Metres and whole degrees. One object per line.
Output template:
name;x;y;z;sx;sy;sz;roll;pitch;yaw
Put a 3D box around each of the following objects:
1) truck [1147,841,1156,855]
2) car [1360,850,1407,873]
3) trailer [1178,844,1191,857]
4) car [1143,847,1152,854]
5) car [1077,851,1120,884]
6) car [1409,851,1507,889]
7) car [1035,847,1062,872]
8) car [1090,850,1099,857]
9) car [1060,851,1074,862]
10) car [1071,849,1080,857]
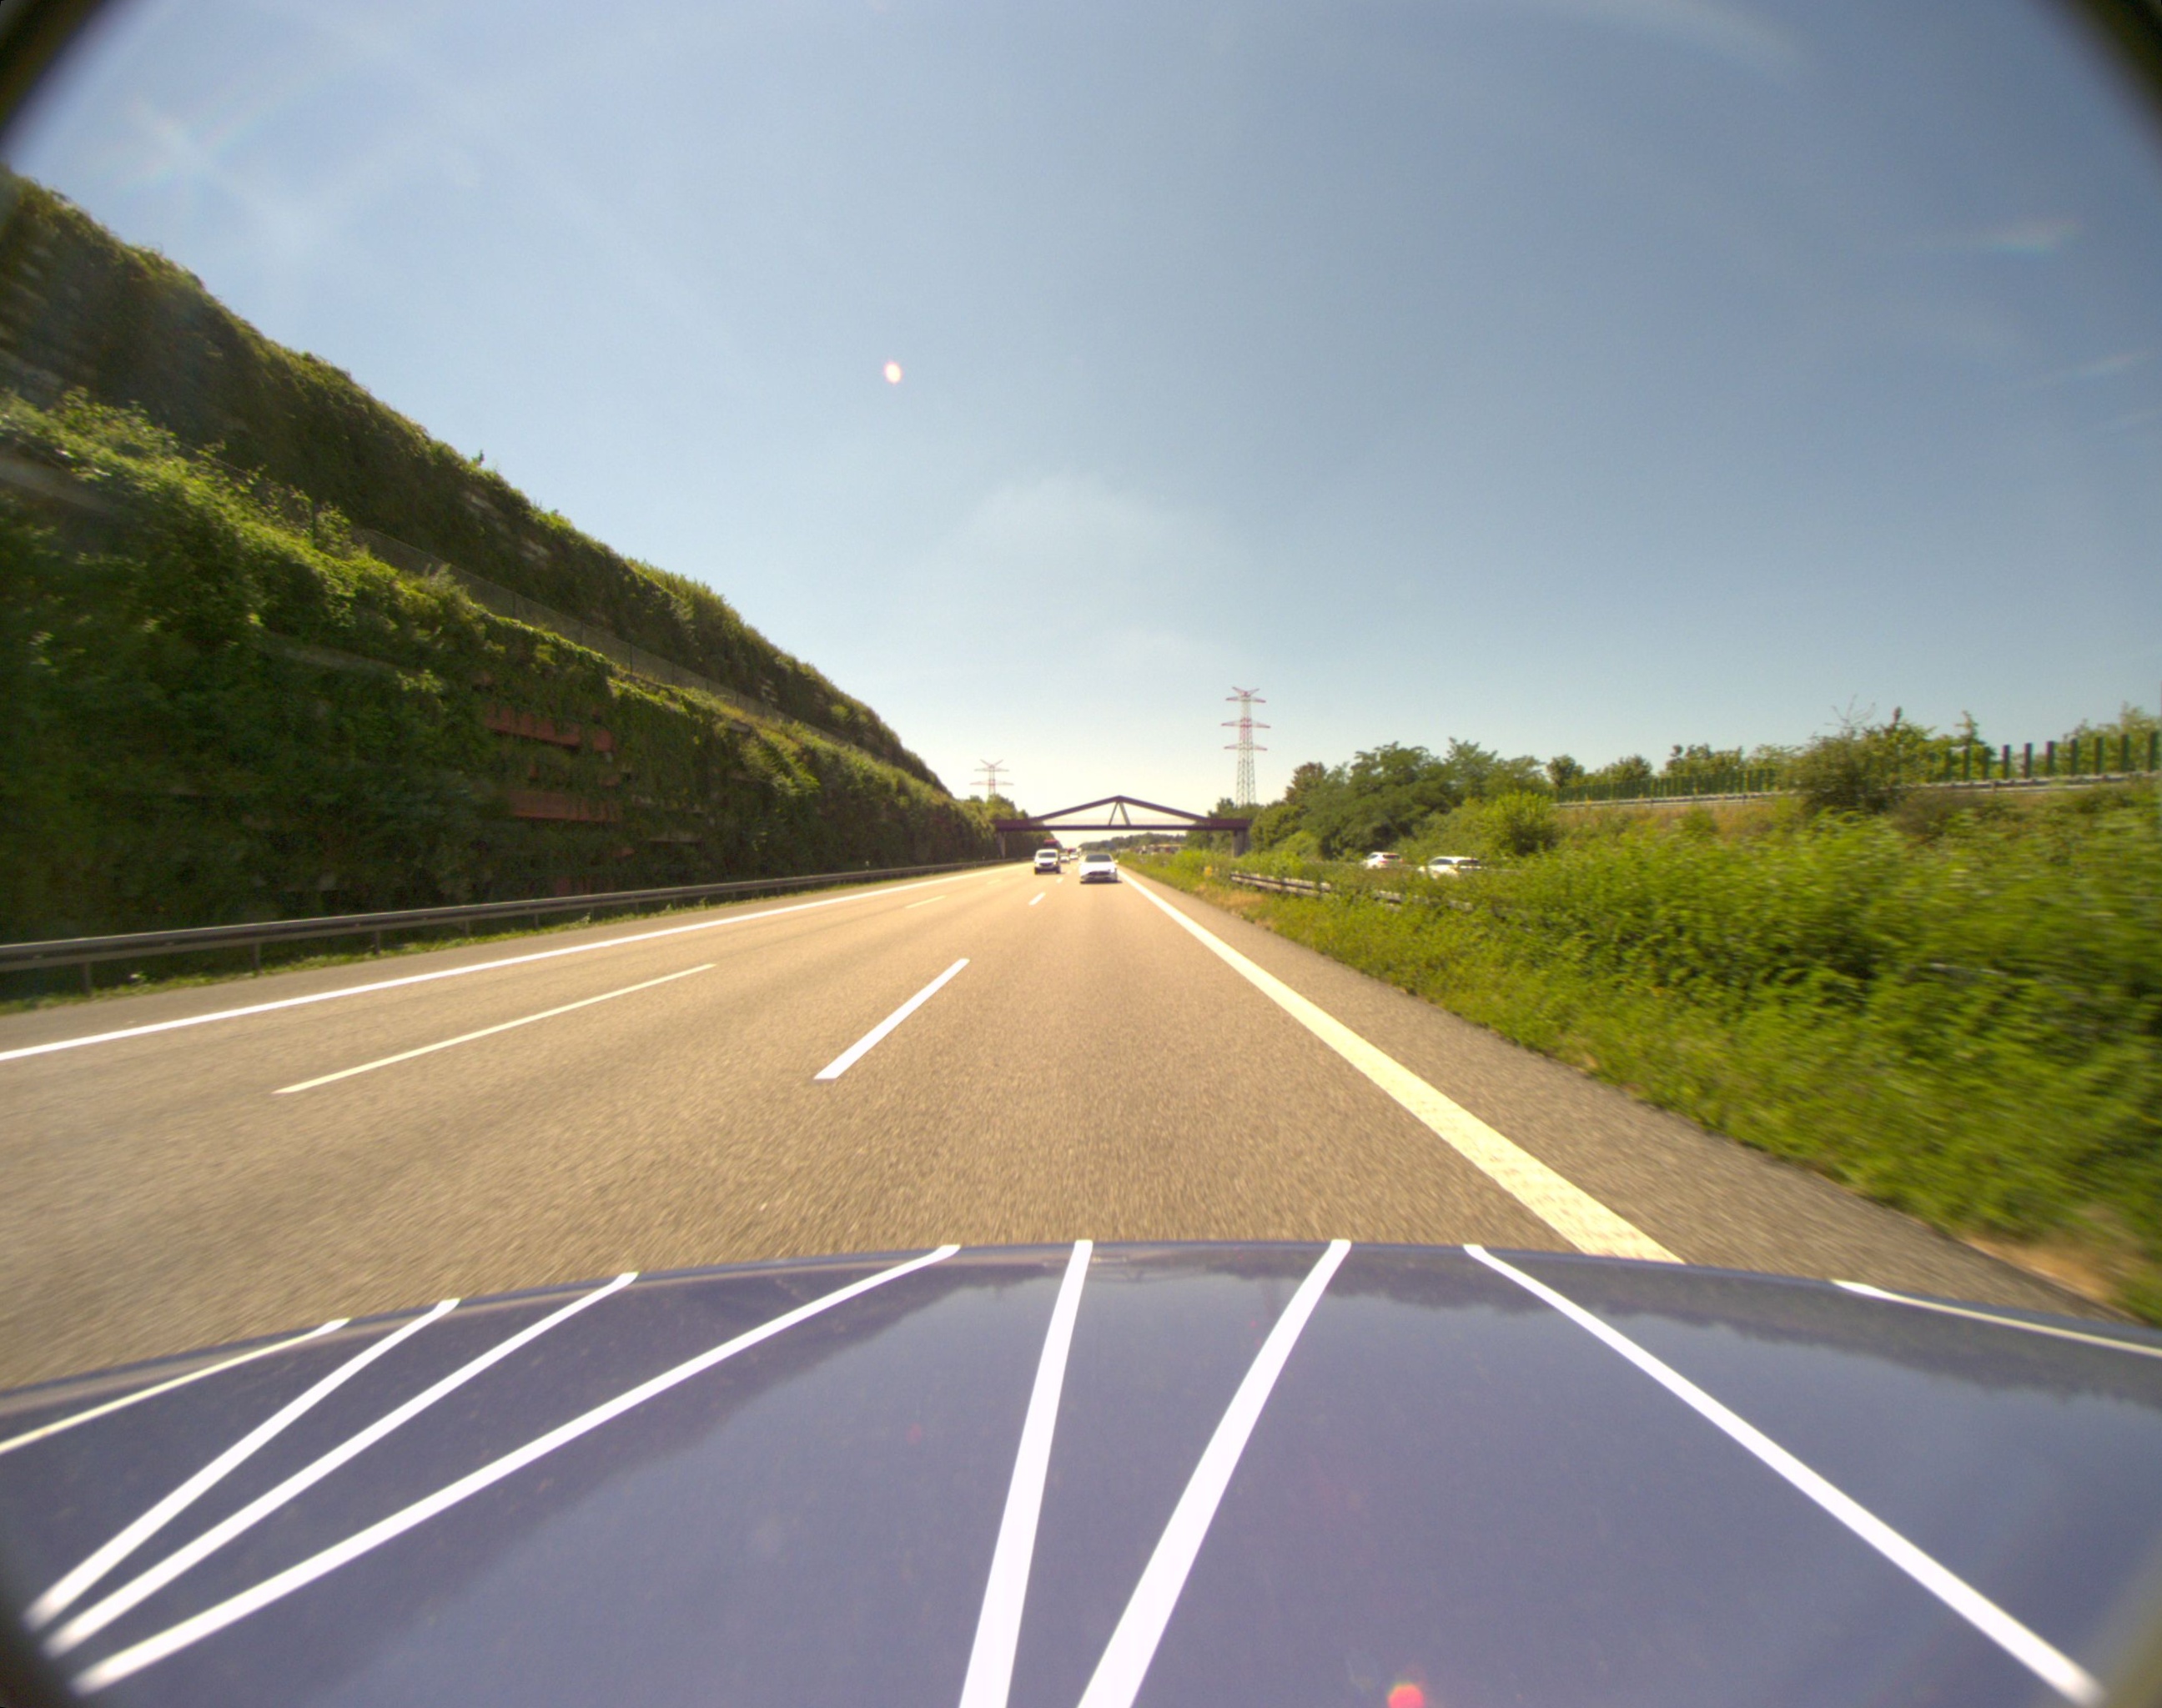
truck;21.677;-1.896;233.587;2.443;4.203;5.593;0;1;-1
car;22.087;0.505;55.590;1.768;1.587;4.151;0;0;0
trailer;20.204;-0.756;148.187;1.998;2.504;4.183;0;1;0
car;17.031;-0.910;195.295;1.892;1.833;3.999;0;1;0
car;0.832;0.615;37.729;1.998;1.474;4.107;-1;1;0
car;17.610;0.687;35.856;1.836;1.673;5.497;0;0;0
car;-2.401;0.397;57.094;1.784;1.783;3.999;-2;1;0
car;2.900;-0.157;162.977;1.784;1.475;3.999;-1;1;0
car;-1.956;0.385;106.422;1.784;1.475;3.999;-2;1;0
car;-1.142;-0.198;152.407;1.784;1.475;3.999;-1;1;0
